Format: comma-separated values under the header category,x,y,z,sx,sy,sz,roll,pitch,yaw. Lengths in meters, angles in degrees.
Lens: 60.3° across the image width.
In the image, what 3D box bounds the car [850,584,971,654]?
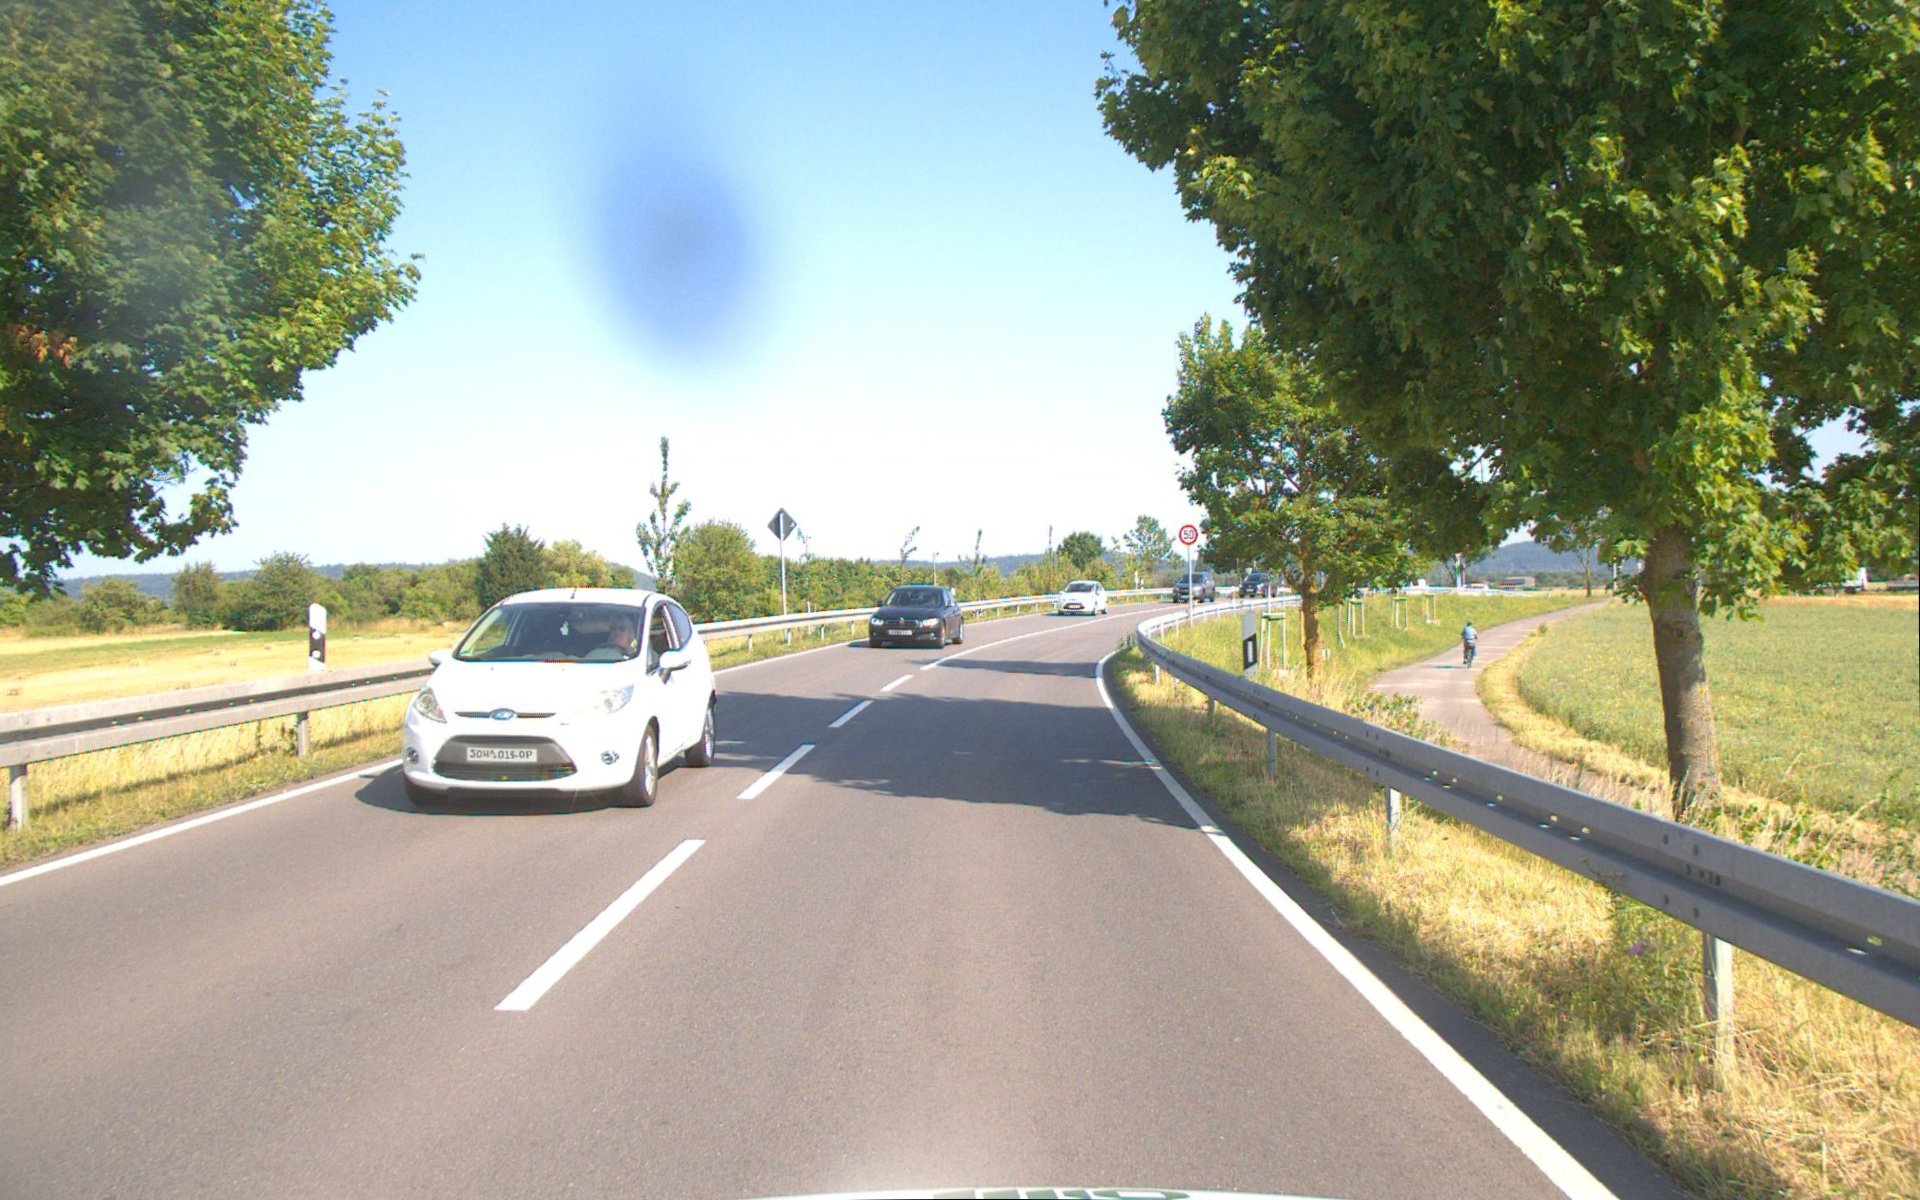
category,x,y,z,sx,sy,sz,roll,pitch,yaw
car,-1.116,0.476,39.801,1.798,1.571,4.247,1,-1,14

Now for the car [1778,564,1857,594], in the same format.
category,x,y,z,sx,sy,sz,roll,pitch,yaw
car,74.855,-1.839,144.388,5.861,2.536,1.991,1,0,38

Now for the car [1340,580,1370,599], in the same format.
category,x,y,z,sx,sy,sz,roll,pitch,yaw
car,35.217,-0.963,147.399,1.759,1.473,4.704,1,3,25

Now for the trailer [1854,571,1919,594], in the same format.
category,x,y,z,sx,sy,sz,roll,pitch,yaw
trailer,79.243,-1.496,140.915,5.175,1.784,1.945,-1,-1,38

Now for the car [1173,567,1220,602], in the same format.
category,x,y,z,sx,sy,sz,roll,pitch,yaw
car,13.794,-0.880,96.276,1.843,1.829,5.093,0,-1,19

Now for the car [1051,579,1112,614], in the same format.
category,x,y,z,sx,sy,sz,roll,pitch,yaw
car,5.338,-0.157,72.356,1.814,1.474,4.156,1,0,16

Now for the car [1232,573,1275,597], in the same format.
category,x,y,z,sx,sy,sz,roll,pitch,yaw
car,20.652,-1.072,116.238,1.953,1.620,4.863,1,1,22

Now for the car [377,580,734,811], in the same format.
category,x,y,z,sx,sy,sz,roll,pitch,yaw
car,-2.853,0.612,12.520,1.715,1.454,3.846,1,0,0
